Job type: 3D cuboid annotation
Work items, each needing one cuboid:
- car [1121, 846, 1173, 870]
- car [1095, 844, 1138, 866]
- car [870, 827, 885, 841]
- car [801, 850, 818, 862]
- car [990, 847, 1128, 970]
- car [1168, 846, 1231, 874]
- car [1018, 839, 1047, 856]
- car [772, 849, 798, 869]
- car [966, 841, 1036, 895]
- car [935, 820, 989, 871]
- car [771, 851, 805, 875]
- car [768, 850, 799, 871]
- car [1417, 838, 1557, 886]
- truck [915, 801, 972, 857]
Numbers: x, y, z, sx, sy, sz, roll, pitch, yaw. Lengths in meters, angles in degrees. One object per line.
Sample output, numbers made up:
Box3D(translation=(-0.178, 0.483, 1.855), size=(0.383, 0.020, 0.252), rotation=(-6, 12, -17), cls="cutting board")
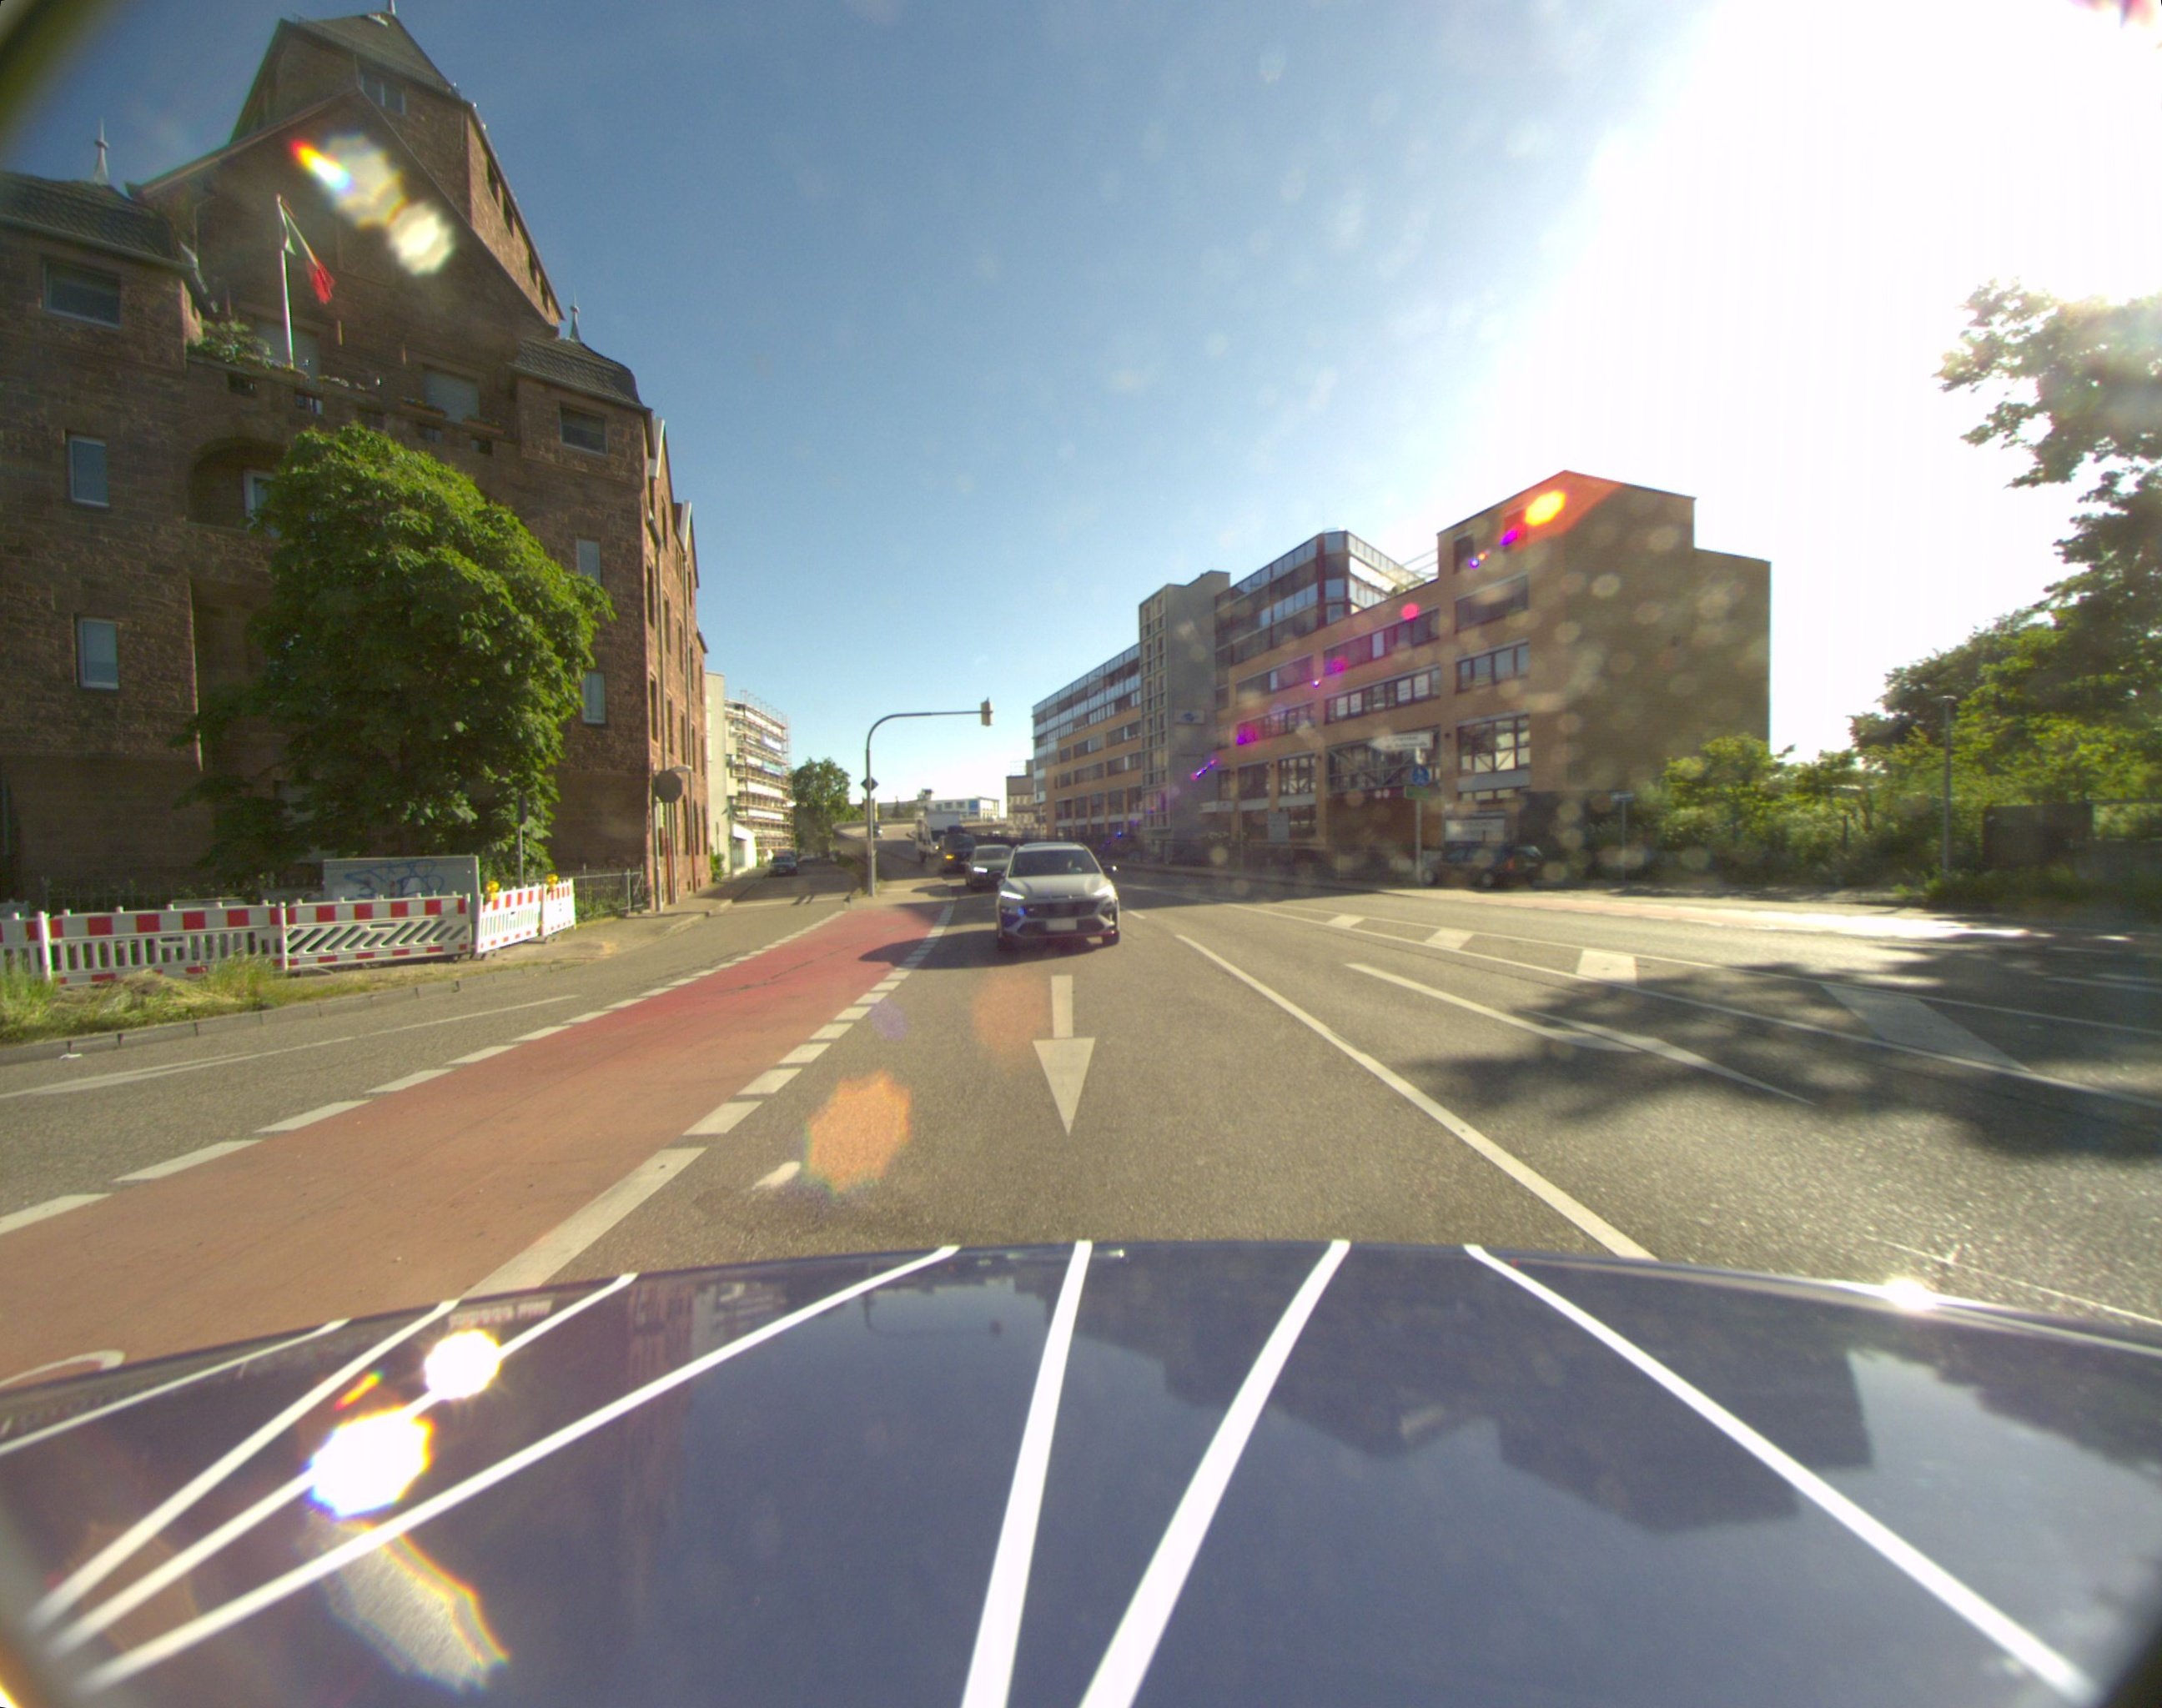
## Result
Box3D(translation=(4.502, 0.251, 52.296), size=(1.882, 1.515, 4.153), rotation=(-2, 1, -21), cls="car")
Box3D(translation=(2.612, 0.094, 57.468), size=(1.887, 1.555, 3.993), rotation=(-2, 1, -19), cls="car")
Box3D(translation=(-26.903, -2.581, 100.530), size=(1.758, 1.749, 4.778), rotation=(-2, 1, -15), cls="car")
Box3D(translation=(-41.483, 0.230, 116.044), size=(1.758, 1.749, 4.199), rotation=(-2, 1, -10), cls="car")
Box3D(translation=(-0.498, 0.728, 12.618), size=(1.880, 1.612, 4.193), rotation=(-1, 1, -6), cls="car")
Box3D(translation=(6.938, 0.316, 44.807), size=(1.640, 1.515, 4.152), rotation=(-2, 1, -24), cls="car")
Box3D(translation=(-4.910, -0.666, 76.621), size=(2.001, 1.500, 3.993), rotation=(-4, 3, -17), cls="car")
Box3D(translation=(-25.856, 0.435, 66.389), size=(2.056, 1.676, 4.085), rotation=(-2, 1, -21), cls="car")
Box3D(translation=(-2.837, 0.388, 25.980), size=(1.881, 1.463, 4.628), rotation=(-3, 3, -12), cls="car")
Box3D(translation=(-5.821, -0.407, 36.727), size=(1.953, 2.248, 4.778), rotation=(-2, 1, -15), cls="car")
Box3D(translation=(-20.224, 0.607, 52.443), size=(2.056, 1.523, 4.085), rotation=(-2, 1, -21), cls="car")
Box3D(translation=(-23.115, 0.502, 59.043), size=(2.056, 1.523, 4.085), rotation=(-2, 1, -21), cls="car")
Box3D(translation=(13.733, 0.290, 26.024), size=(1.661, 1.500, 4.373), rotation=(0, -1, -17), cls="car")
Box3D(translation=(-8.497, -1.428, 46.317), size=(2.506, 3.110, 6.948), rotation=(-2, 1, -17), cls="truck")
